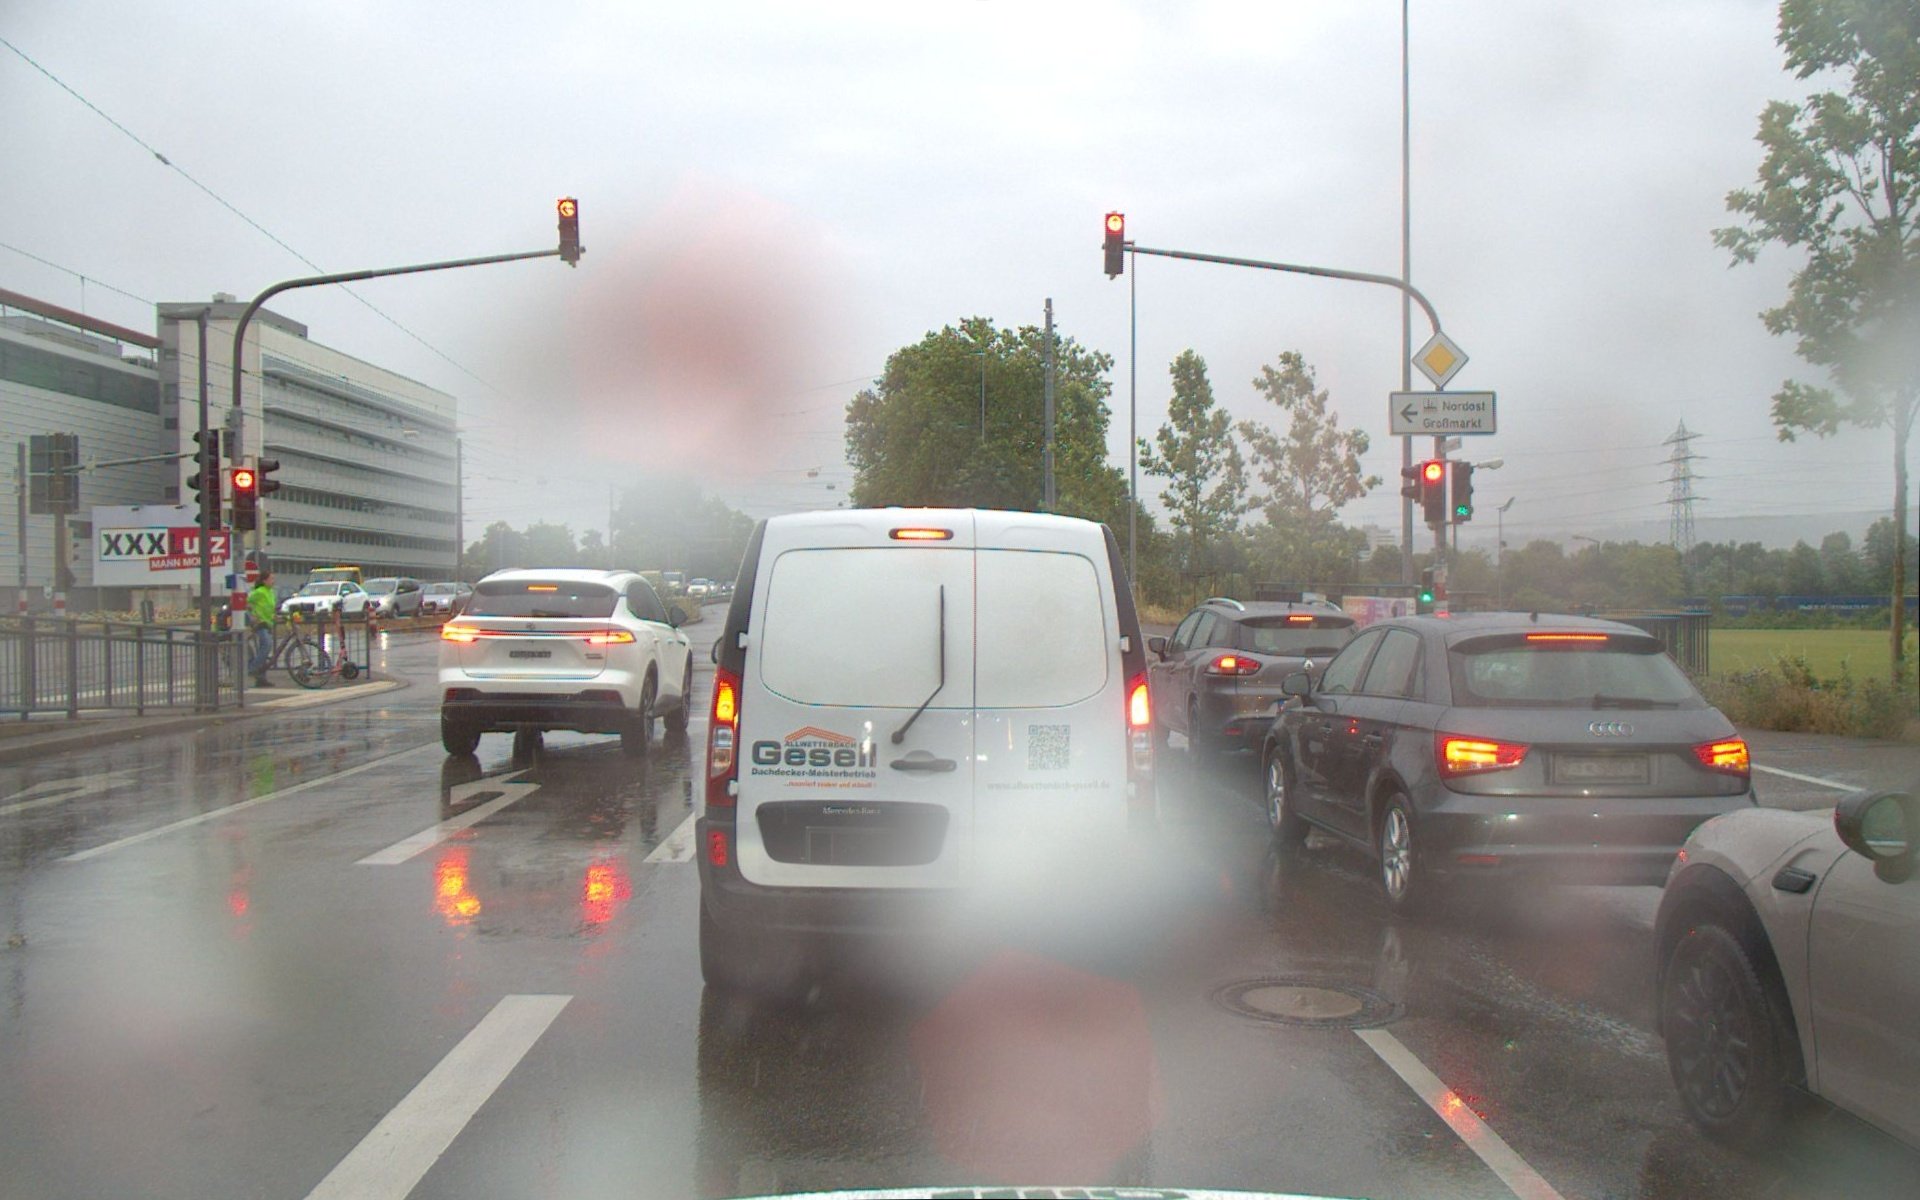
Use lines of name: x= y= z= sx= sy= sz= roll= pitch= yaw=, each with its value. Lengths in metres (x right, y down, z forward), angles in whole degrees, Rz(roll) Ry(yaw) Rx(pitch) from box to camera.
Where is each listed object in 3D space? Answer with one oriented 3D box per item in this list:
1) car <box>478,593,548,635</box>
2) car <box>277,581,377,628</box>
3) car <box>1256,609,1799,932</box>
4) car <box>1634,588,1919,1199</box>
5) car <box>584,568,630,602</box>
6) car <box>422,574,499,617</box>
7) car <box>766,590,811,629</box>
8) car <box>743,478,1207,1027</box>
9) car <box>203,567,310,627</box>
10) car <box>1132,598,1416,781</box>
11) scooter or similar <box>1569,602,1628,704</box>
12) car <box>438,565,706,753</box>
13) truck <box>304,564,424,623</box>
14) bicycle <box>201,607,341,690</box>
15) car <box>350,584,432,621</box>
car: x=-20.802 y=0.641 z=77.115 sx=1.889 sy=1.859 sz=4.002 roll=1 pitch=0 yaw=4
car: x=-21.670 y=0.150 z=56.804 sx=1.662 sy=1.518 sz=3.878 roll=1 pitch=0 yaw=5
car: x=2.785 y=0.750 z=8.965 sx=1.596 sy=1.368 sz=3.622 roll=1 pitch=0 yaw=-2
car: x=2.949 y=0.757 z=3.235 sx=1.679 sy=1.534 sz=3.622 roll=1 pitch=0 yaw=-2
car: x=-22.109 y=-0.909 z=103.691 sx=1.952 sy=2.049 sz=4.000 roll=1 pitch=0 yaw=1
car: x=-21.115 y=-0.179 z=70.048 sx=1.853 sy=1.729 sz=4.001 roll=1 pitch=0 yaw=3
car: x=-7.190 y=0.389 z=68.999 sx=1.585 sy=1.530 sz=3.706 roll=1 pitch=0 yaw=-10
car: x=0.026 y=0.512 z=7.507 sx=1.534 sy=1.819 sz=3.999 roll=0 pitch=0 yaw=-1
car: x=-25.293 y=-0.108 z=59.608 sx=1.952 sy=2.049 sz=4.002 roll=1 pitch=0 yaw=3
car: x=2.803 y=0.743 z=15.602 sx=1.822 sy=1.453 sz=3.806 roll=1 pitch=1 yaw=-2
scooter or similar: x=7.568 y=0.612 z=19.625 sx=0.240 sy=1.178 sz=1.186 roll=1 pitch=0 yaw=1
car: x=-3.593 y=0.474 z=16.067 sx=1.694 sy=1.562 sz=4.296 roll=1 pitch=1 yaw=-2
truck: x=-25.124 y=-0.240 z=70.140 sx=2.303 sy=2.319 sz=7.632 roll=1 pitch=0 yaw=0
bicycle: x=-9.674 y=0.679 z=23.245 sx=1.716 sy=1.052 sz=0.414 roll=4 pitch=-1 yaw=-3
car: x=-21.554 y=0.108 z=62.816 sx=1.554 sy=1.359 sz=3.832 roll=1 pitch=-1 yaw=4
